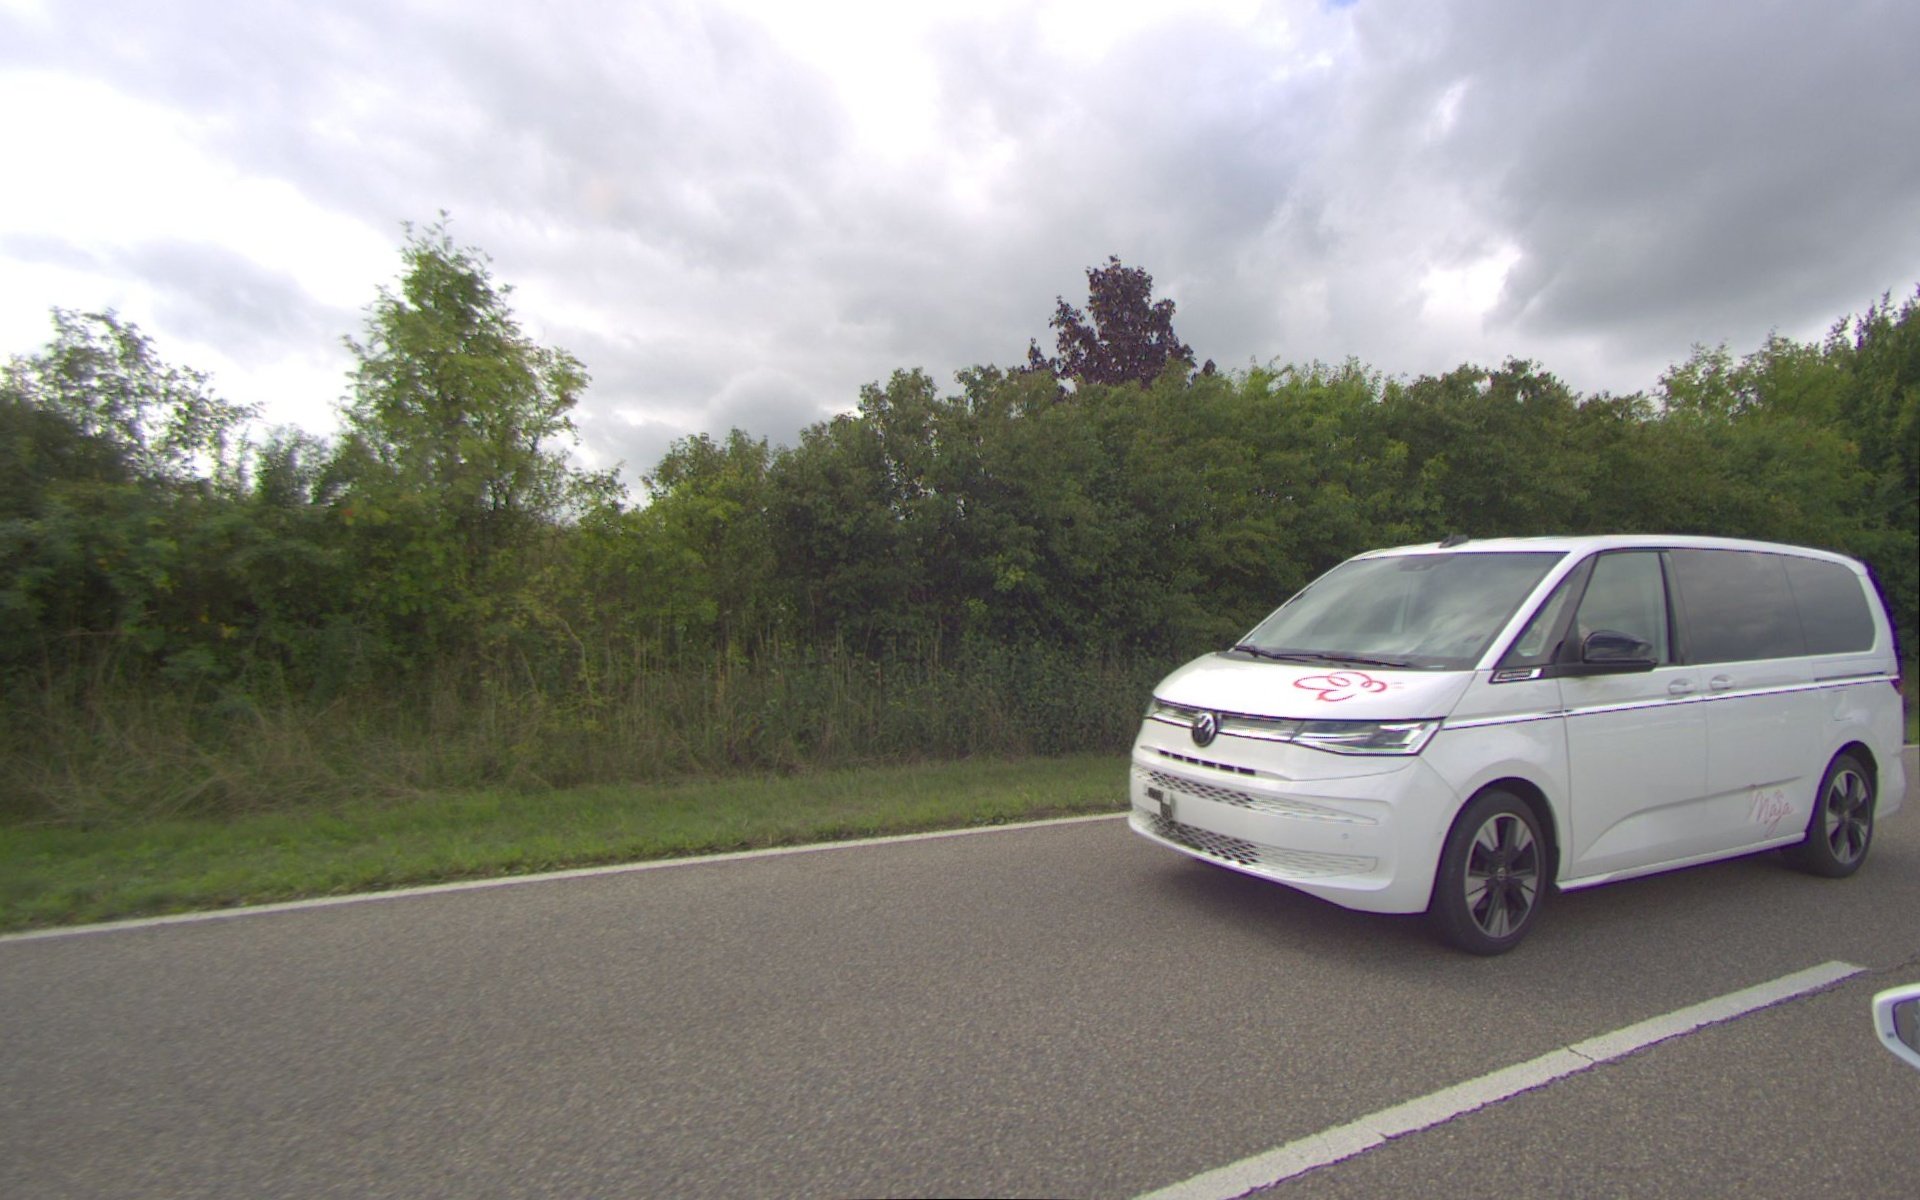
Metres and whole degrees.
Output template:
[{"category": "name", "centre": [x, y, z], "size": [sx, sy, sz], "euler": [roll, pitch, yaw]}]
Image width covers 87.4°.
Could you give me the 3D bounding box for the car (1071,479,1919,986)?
[{"category": "car", "centre": [3.364, 0.565, 5.893], "size": [5.121, 1.893, 2.105], "euler": [1, -1, -28]}]
